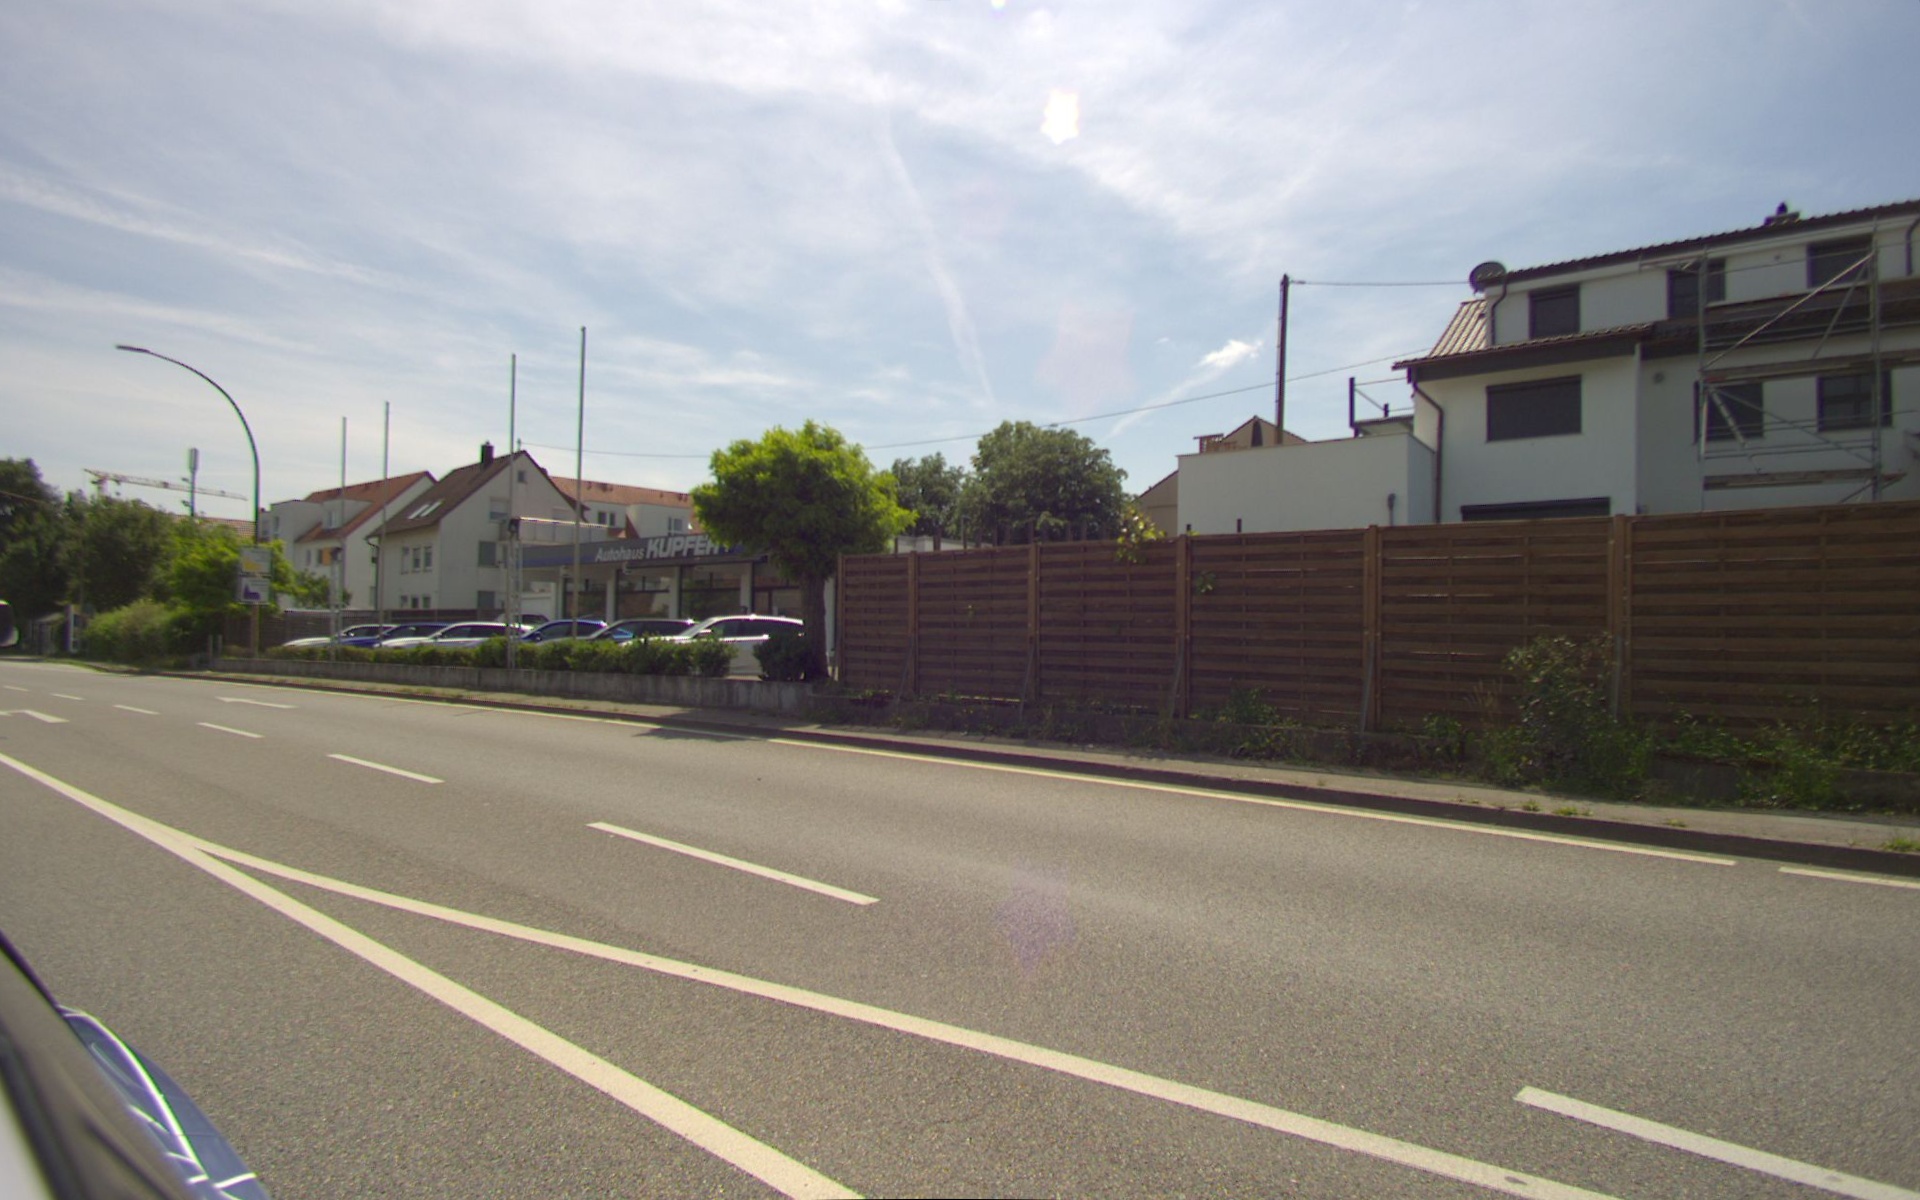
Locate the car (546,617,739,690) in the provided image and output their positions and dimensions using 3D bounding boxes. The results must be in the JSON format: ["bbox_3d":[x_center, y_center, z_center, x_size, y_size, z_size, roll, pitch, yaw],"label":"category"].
[{"bbox_3d":[-7.666,1.237,24.463,4.187,1.557,1.856,-1,-1,-27],"label":"car"}]

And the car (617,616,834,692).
[{"bbox_3d":[-5.058,1.107,21.880,4.264,1.471,1.861,0,-1,-26],"label":"car"}]

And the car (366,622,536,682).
[{"bbox_3d":[-14.594,1.446,29.290,4.238,1.530,2.006,-1,-1,-23],"label":"car"}]

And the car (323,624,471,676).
[{"bbox_3d":[-17.785,1.541,32.165,3.930,1.475,2.006,-1,-1,-24],"label":"car"}]

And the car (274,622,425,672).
[{"bbox_3d":[-20.811,1.576,34.725,4.192,1.541,2.006,-1,-1,-24],"label":"car"}]

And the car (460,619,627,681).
[{"bbox_3d":[-11.007,1.269,26.787,3.931,1.453,1.860,-1,-1,-25],"label":"car"}]
